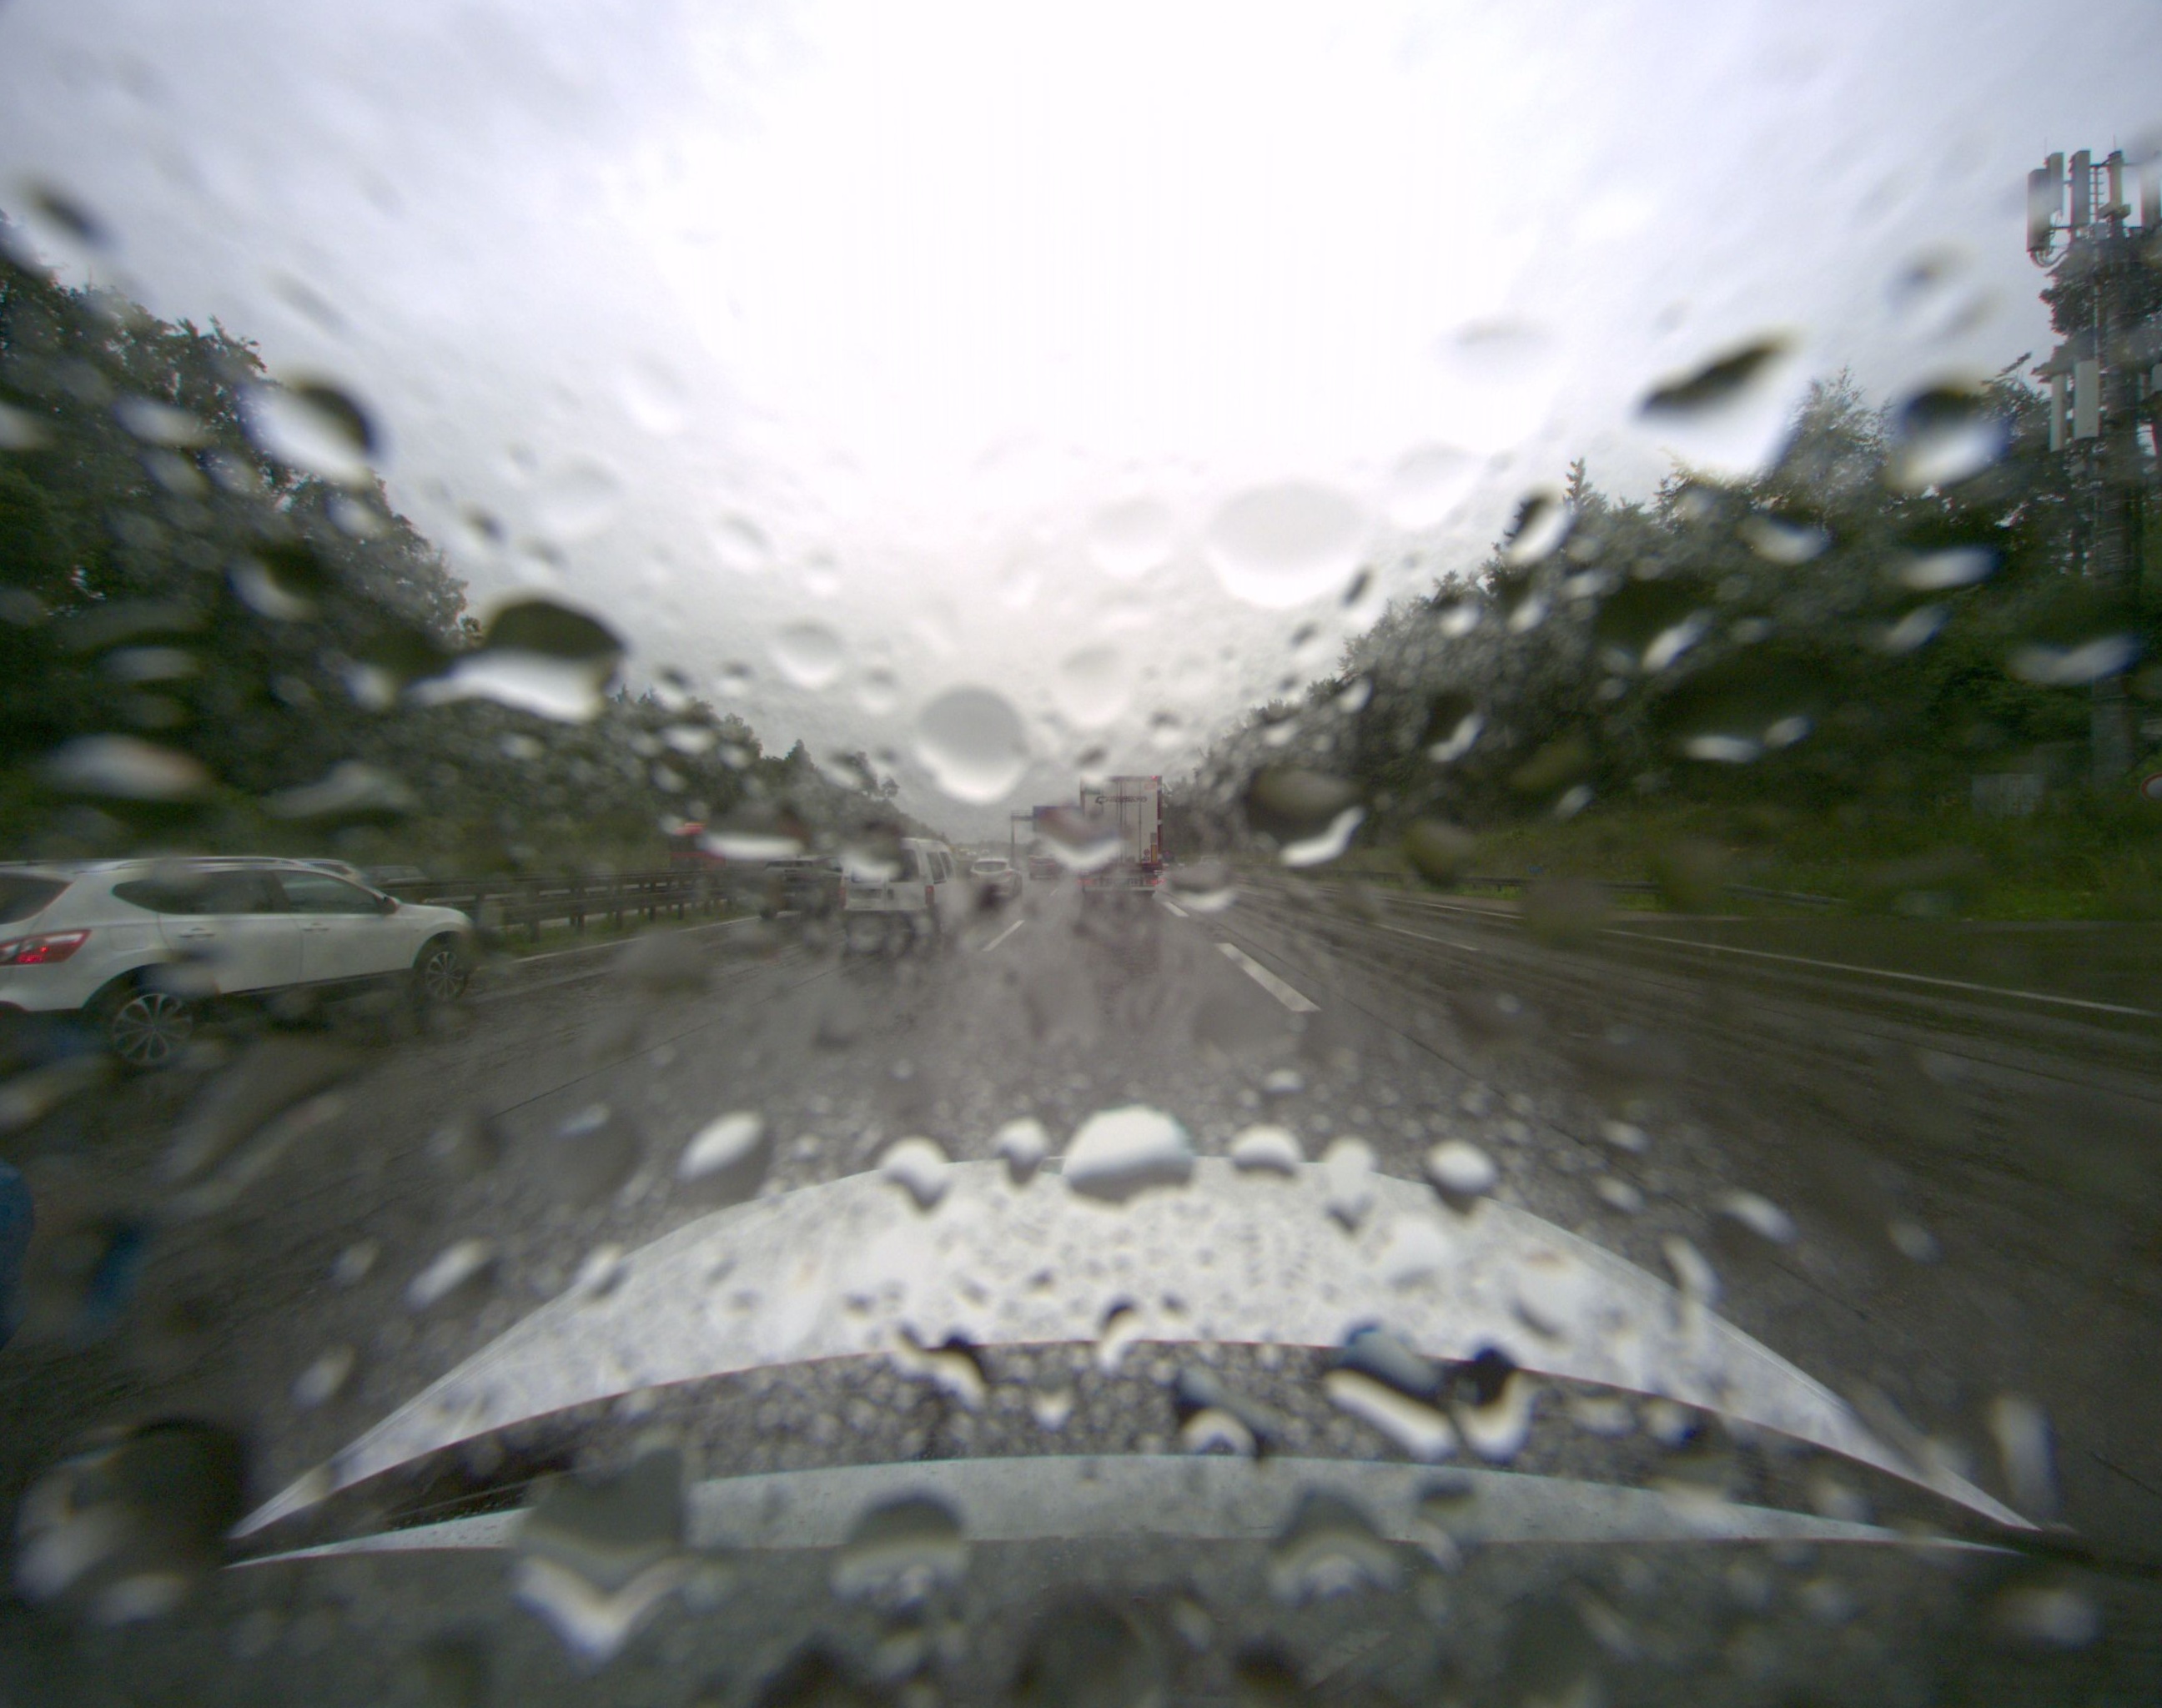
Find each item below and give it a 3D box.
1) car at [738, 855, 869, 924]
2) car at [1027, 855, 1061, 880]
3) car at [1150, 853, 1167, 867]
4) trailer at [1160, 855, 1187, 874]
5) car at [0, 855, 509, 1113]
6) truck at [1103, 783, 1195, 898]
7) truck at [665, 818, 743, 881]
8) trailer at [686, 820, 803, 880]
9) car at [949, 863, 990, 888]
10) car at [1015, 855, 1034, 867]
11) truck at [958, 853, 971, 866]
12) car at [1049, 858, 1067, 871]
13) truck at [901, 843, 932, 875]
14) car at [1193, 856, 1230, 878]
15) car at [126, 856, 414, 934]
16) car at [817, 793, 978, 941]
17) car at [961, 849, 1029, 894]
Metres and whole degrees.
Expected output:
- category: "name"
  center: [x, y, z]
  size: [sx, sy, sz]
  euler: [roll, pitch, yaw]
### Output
- category: "car"
  center: [-7.220, 0.855, 21.719]
  size: [1.839, 1.591, 4.468]
  euler: [0, 0, 1]
- category: "car"
  center: [-2.477, 0.859, 55.692]
  size: [1.837, 1.591, 4.471]
  euler: [0, 0, 4]
- category: "car"
  center: [9.337, 0.676, 97.896]
  size: [1.980, 1.583, 4.774]
  euler: [0, 0, 5]
- category: "trailer"
  center: [8.956, 0.963, 79.174]
  size: [2.235, 1.714, 5.084]
  euler: [0, 0, 1]
- category: "car"
  center: [-7.649, 0.835, 7.202]
  size: [1.838, 1.591, 4.470]
  euler: [0, 0, 3]
- category: "truck"
  center: [2.436, -0.395, 31.096]
  size: [2.860, 3.562, 11.311]
  euler: [0, 0, 3]
- category: "truck"
  center: [-25.236, -0.264, 54.773]
  size: [2.693, 3.954, 4.893]
  euler: [-2, 0, 2]
- category: "trailer"
  center: [-25.067, -0.251, 61.881]
  size: [2.710, 3.954, 13.963]
  euler: [-2, 0, 1]
- category: "car"
  center: [-6.783, 1.288, 49.952]
  size: [1.839, 1.330, 4.467]
  euler: [0, 0, 1]
- category: "car"
  center: [-6.307, 0.769, 91.334]
  size: [1.839, 1.330, 4.467]
  euler: [0, 0, 1]
- category: "truck"
  center: [-31.710, 1.434, 221.898]
  size: [2.514, 3.483, 11.704]
  euler: [0, 0, -4]
- category: "car"
  center: [-2.593, 1.142, 92.146]
  size: [1.839, 1.330, 4.467]
  euler: [0, 0, 1]
- category: "truck"
  center: [-21.233, 0.612, 105.505]
  size: [2.368, 3.954, 6.538]
  euler: [-2, 0, 1]
- category: "car"
  center: [8.838, 0.852, 55.506]
  size: [1.785, 1.407, 4.227]
  euler: [0, 0, 0]
- category: "car"
  center: [-18.587, 0.840, 19.090]
  size: [1.987, 1.507, 4.706]
  euler: [-2, 0, 0]
- category: "car"
  center: [-3.524, 0.216, 16.783]
  size: [2.206, 2.573, 5.014]
  euler: [0, 0, -1]
- category: "car"
  center: [-3.200, 0.619, 31.085]
  size: [1.837, 1.591, 4.076]
  euler: [0, 0, 4]
